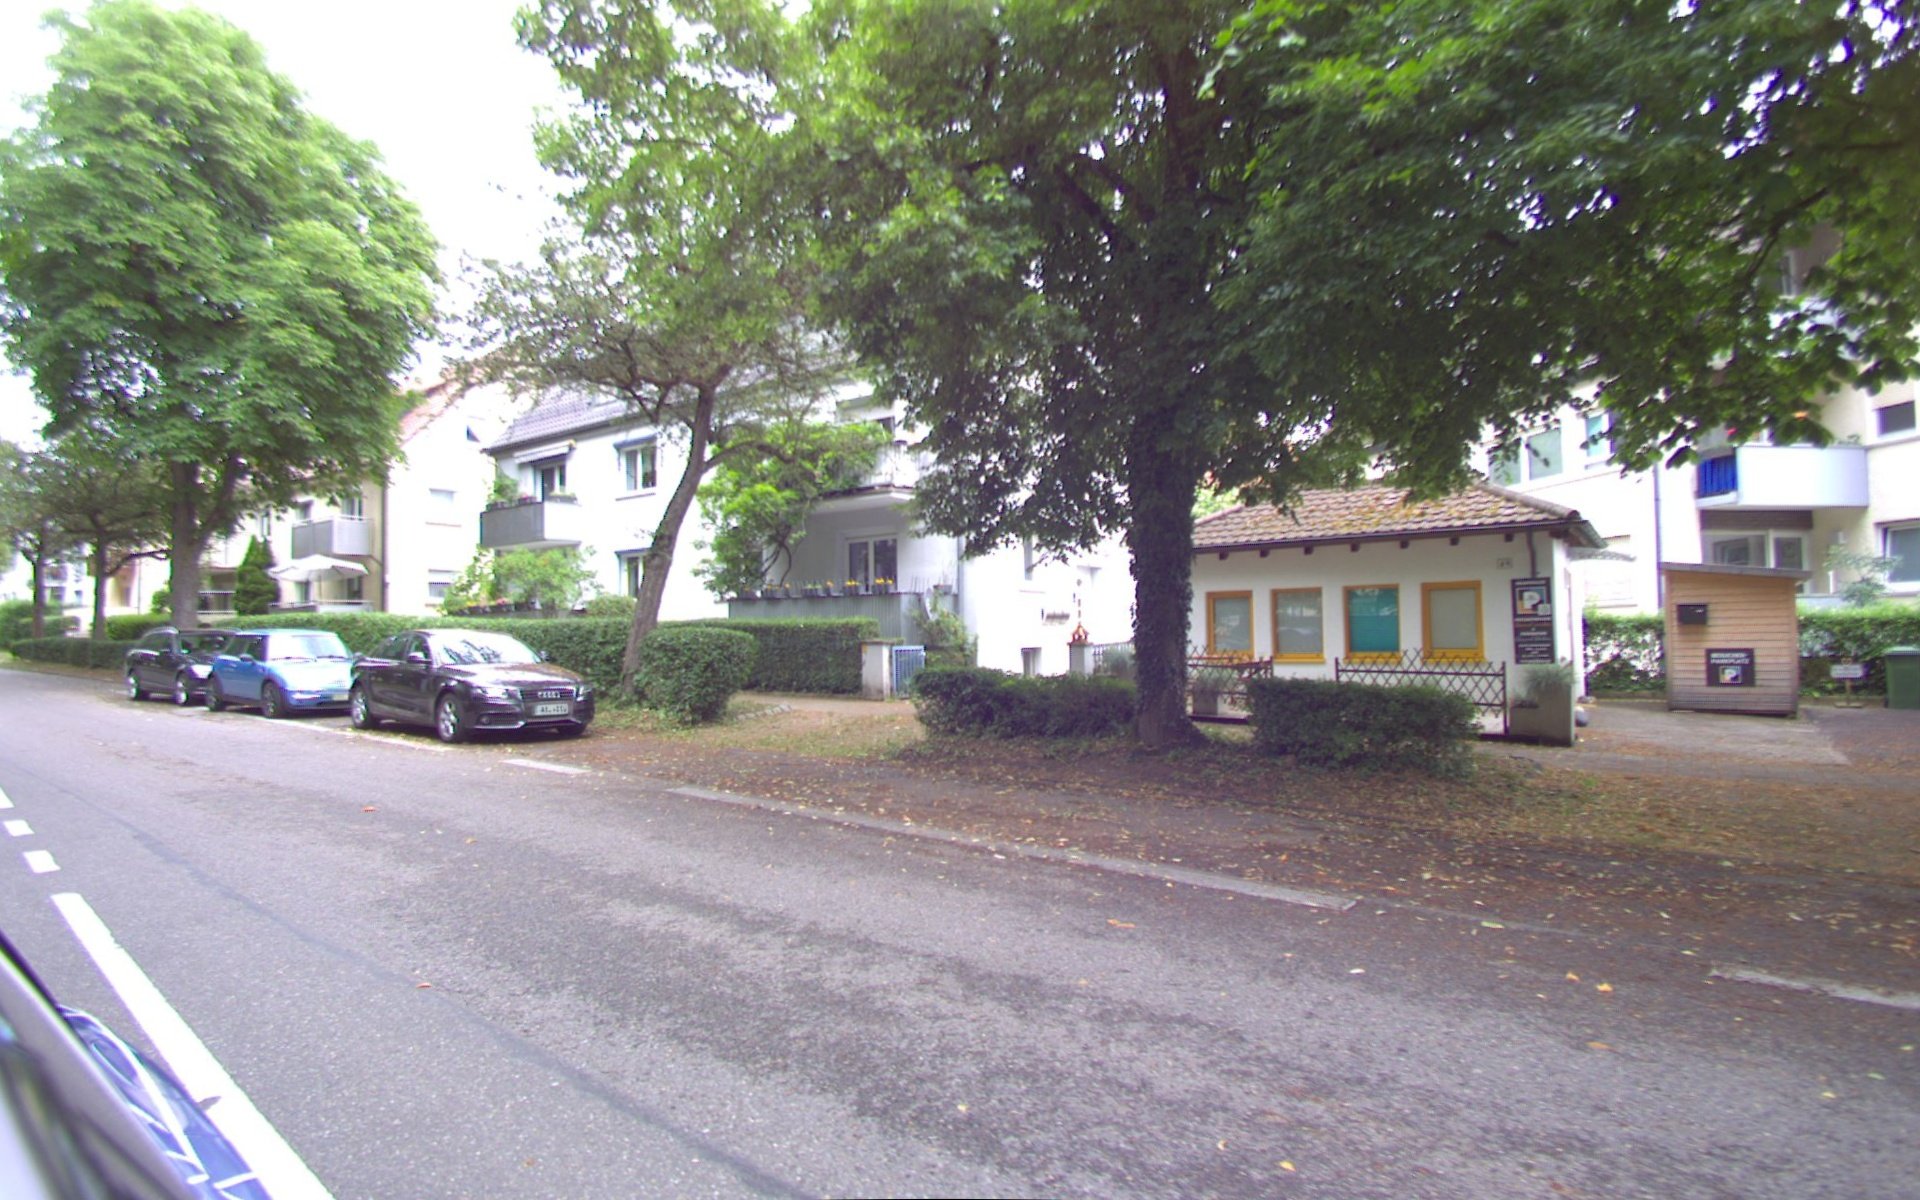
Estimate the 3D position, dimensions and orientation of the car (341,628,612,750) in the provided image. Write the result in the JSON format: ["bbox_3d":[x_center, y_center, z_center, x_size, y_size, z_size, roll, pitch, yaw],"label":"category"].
[{"bbox_3d":[-6.662,1.111,13.756,4.167,1.414,1.714,-2,-3,39],"label":"car"}]

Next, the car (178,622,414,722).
[{"bbox_3d":[-11.465,1.167,17.378,4.556,1.512,1.867,-1,-3,36],"label":"car"}]

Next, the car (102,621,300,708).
[{"bbox_3d":[-15.240,1.242,20.257,4.556,1.545,1.867,-1,-3,36],"label":"car"}]
